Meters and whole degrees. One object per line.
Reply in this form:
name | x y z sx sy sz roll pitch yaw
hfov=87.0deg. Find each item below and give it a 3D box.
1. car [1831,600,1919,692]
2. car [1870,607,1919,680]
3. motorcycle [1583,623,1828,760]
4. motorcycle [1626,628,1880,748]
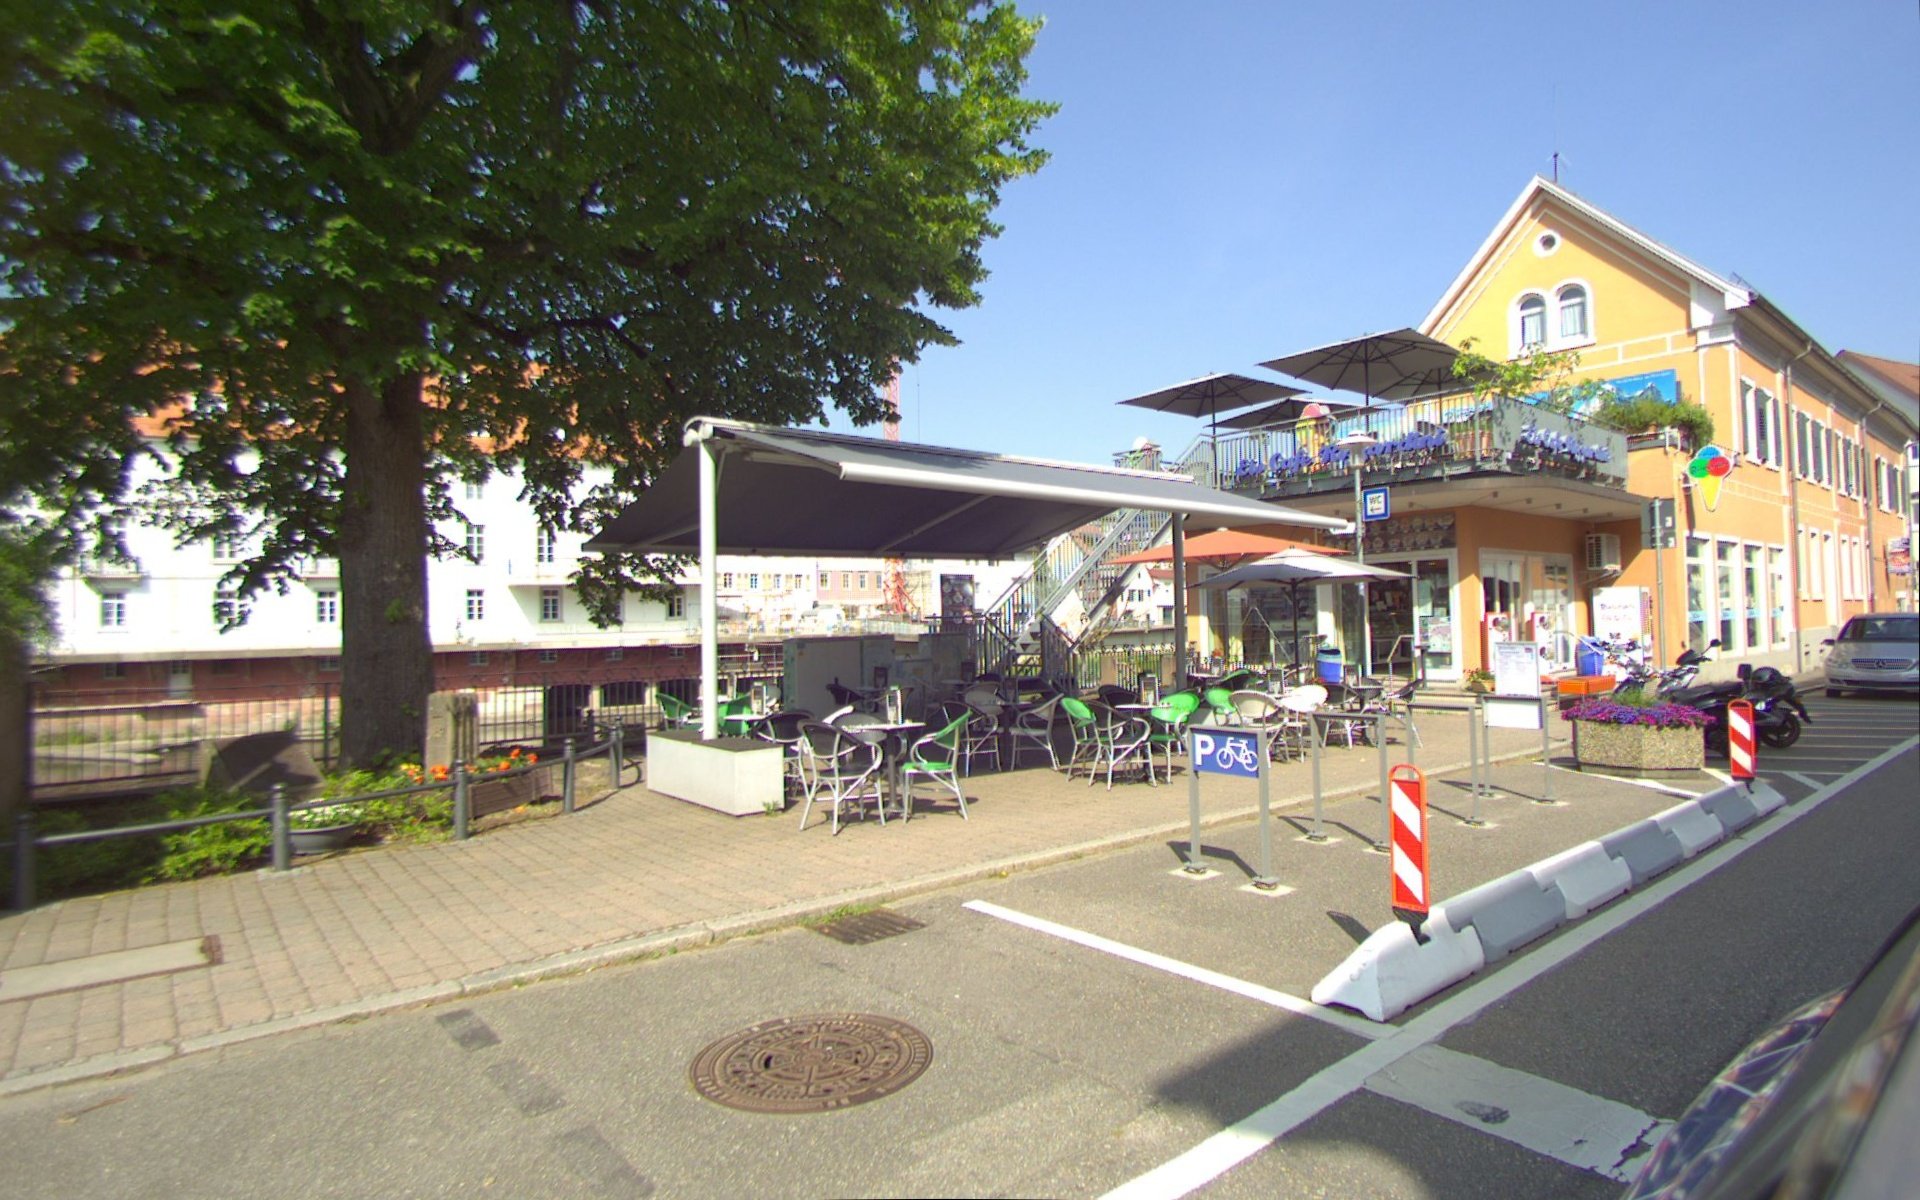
car | 18.379 0.841 19.545 4.515 1.618 1.747 1 -2 -42
car | 22.330 0.948 23.097 4.029 1.579 1.682 1 -2 -39
motorcycle | 7.923 0.939 10.876 1.873 1.375 0.912 -1 -1 16
motorcycle | 9.019 0.974 11.618 2.057 1.286 0.926 -1 -1 11
